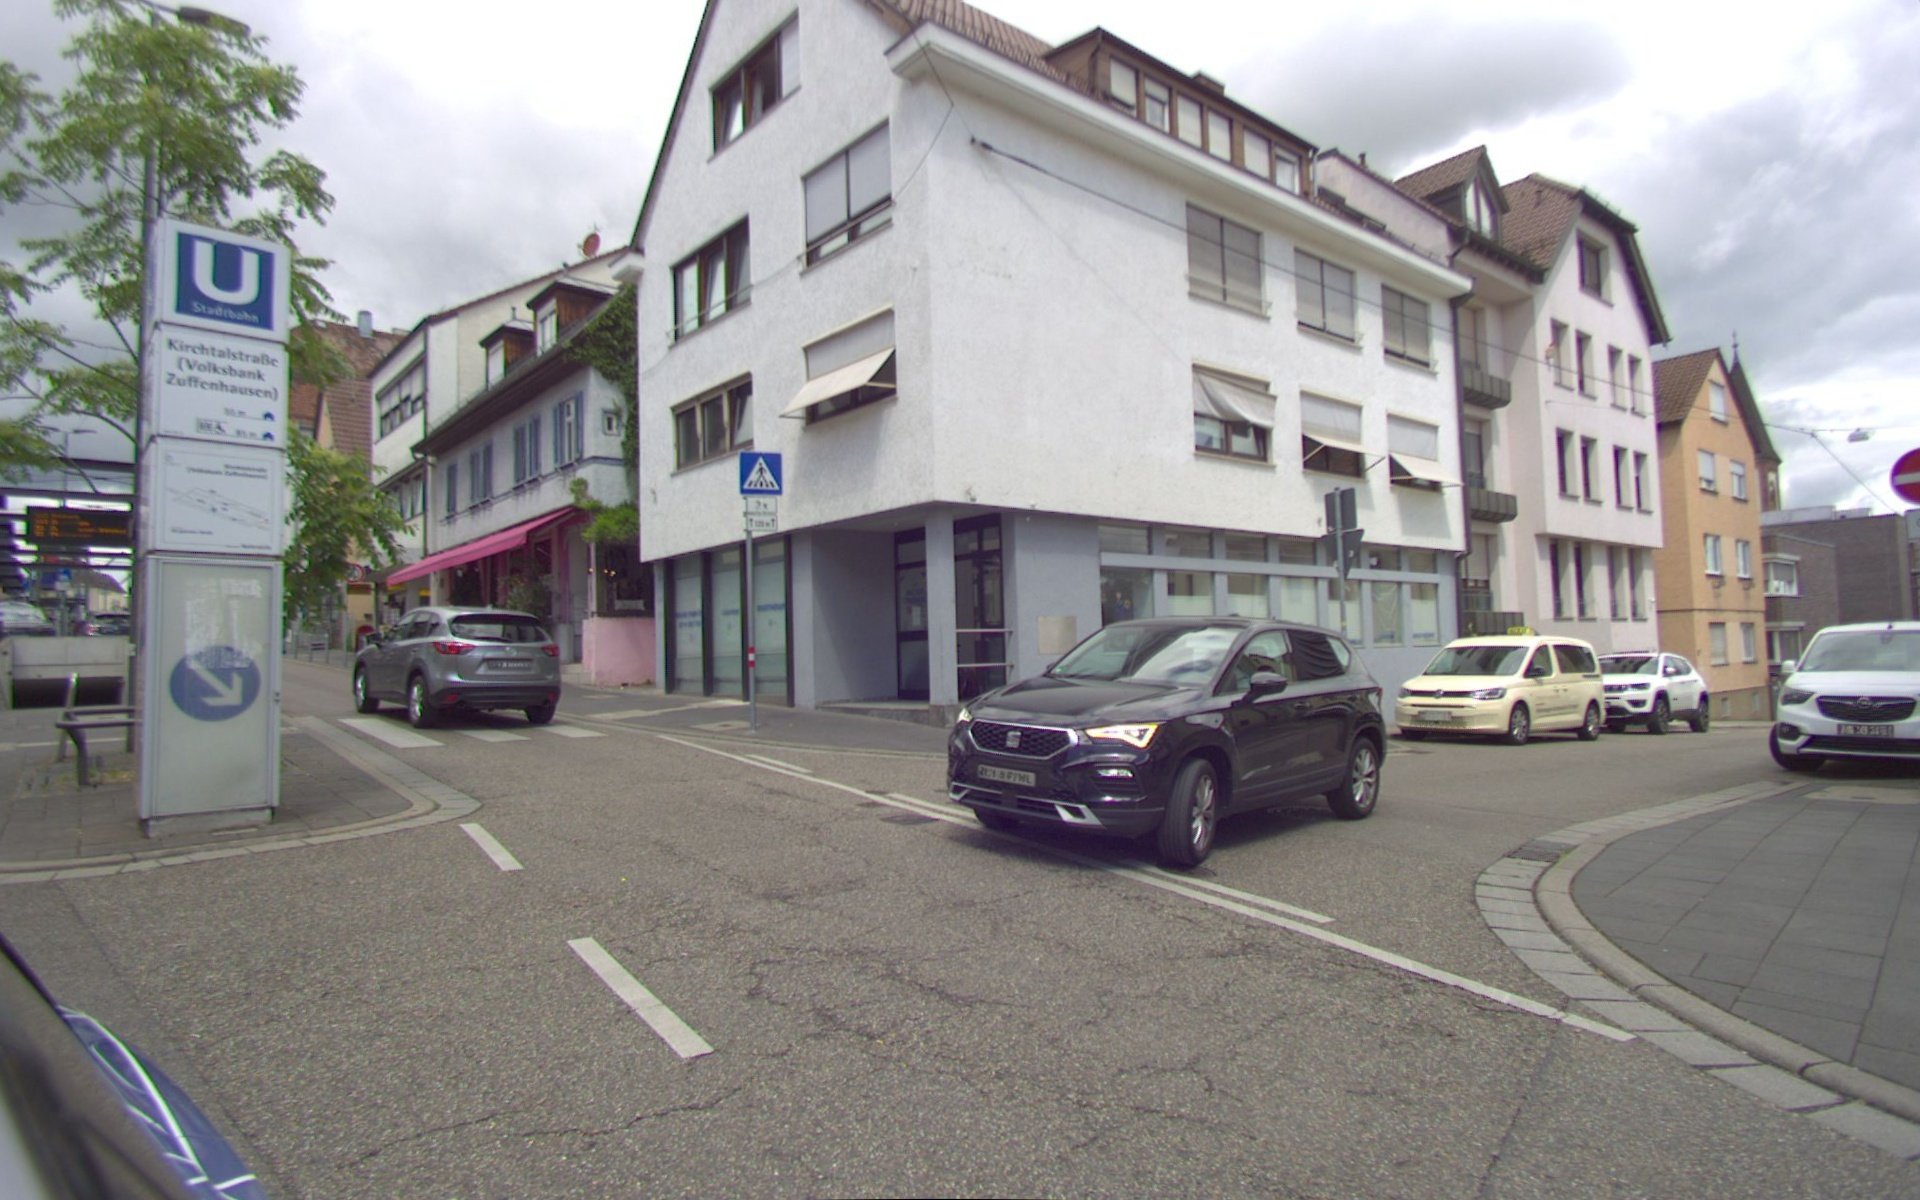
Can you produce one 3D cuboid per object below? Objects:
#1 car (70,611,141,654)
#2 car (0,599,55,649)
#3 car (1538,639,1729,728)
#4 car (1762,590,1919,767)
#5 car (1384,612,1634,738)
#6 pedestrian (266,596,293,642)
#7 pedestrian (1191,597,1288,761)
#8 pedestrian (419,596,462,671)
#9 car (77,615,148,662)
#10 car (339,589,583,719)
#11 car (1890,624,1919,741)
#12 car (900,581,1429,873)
[{"bbox_3d":[-34.687,1.283,41.029,1.970,1.601,4.499,0,0,-43],"label":"car"},{"bbox_3d":[-31.623,0.793,33.725,1.971,1.578,4.434,0,0,-45],"label":"car"},{"bbox_3d":[13.766,1.694,20.635,4.027,1.633,2.004,4,-5,-37],"label":"car"},{"bbox_3d":[11.356,0.956,11.958,4.284,1.820,2.003,5,-7,-39],"label":"car"},{"bbox_3d":[9.277,1.247,16.941,4.760,1.833,1.872,4,-3,-37],"label":"car"},{"bbox_3d":[-25.917,0.712,38.552,0.737,1.727,0.664,2,-2,-43],"label":"pedestrian"},{"bbox_3d":[3.128,0.858,11.325,0.836,1.752,0.629,-1,-3,44],"label":"pedestrian"},{"bbox_3d":[-12.440,0.799,24.232,0.685,1.753,0.826,2,-2,-41],"label":"pedestrian"},{"bbox_3d":[-30.036,1.350,35.831,1.679,1.559,3.902,3,-3,-43],"label":"car"},{"bbox_3d":[-7.503,0.739,15.014,1.940,1.633,4.358,4,-3,-44],"label":"car"},{"bbox_3d":[15.548,1.292,15.103,4.282,1.641,1.742,4,-3,-37],"label":"car"},{"bbox_3d":[1.786,0.753,7.708,1.916,1.581,4.308,-1,-2,45],"label":"car"}]
